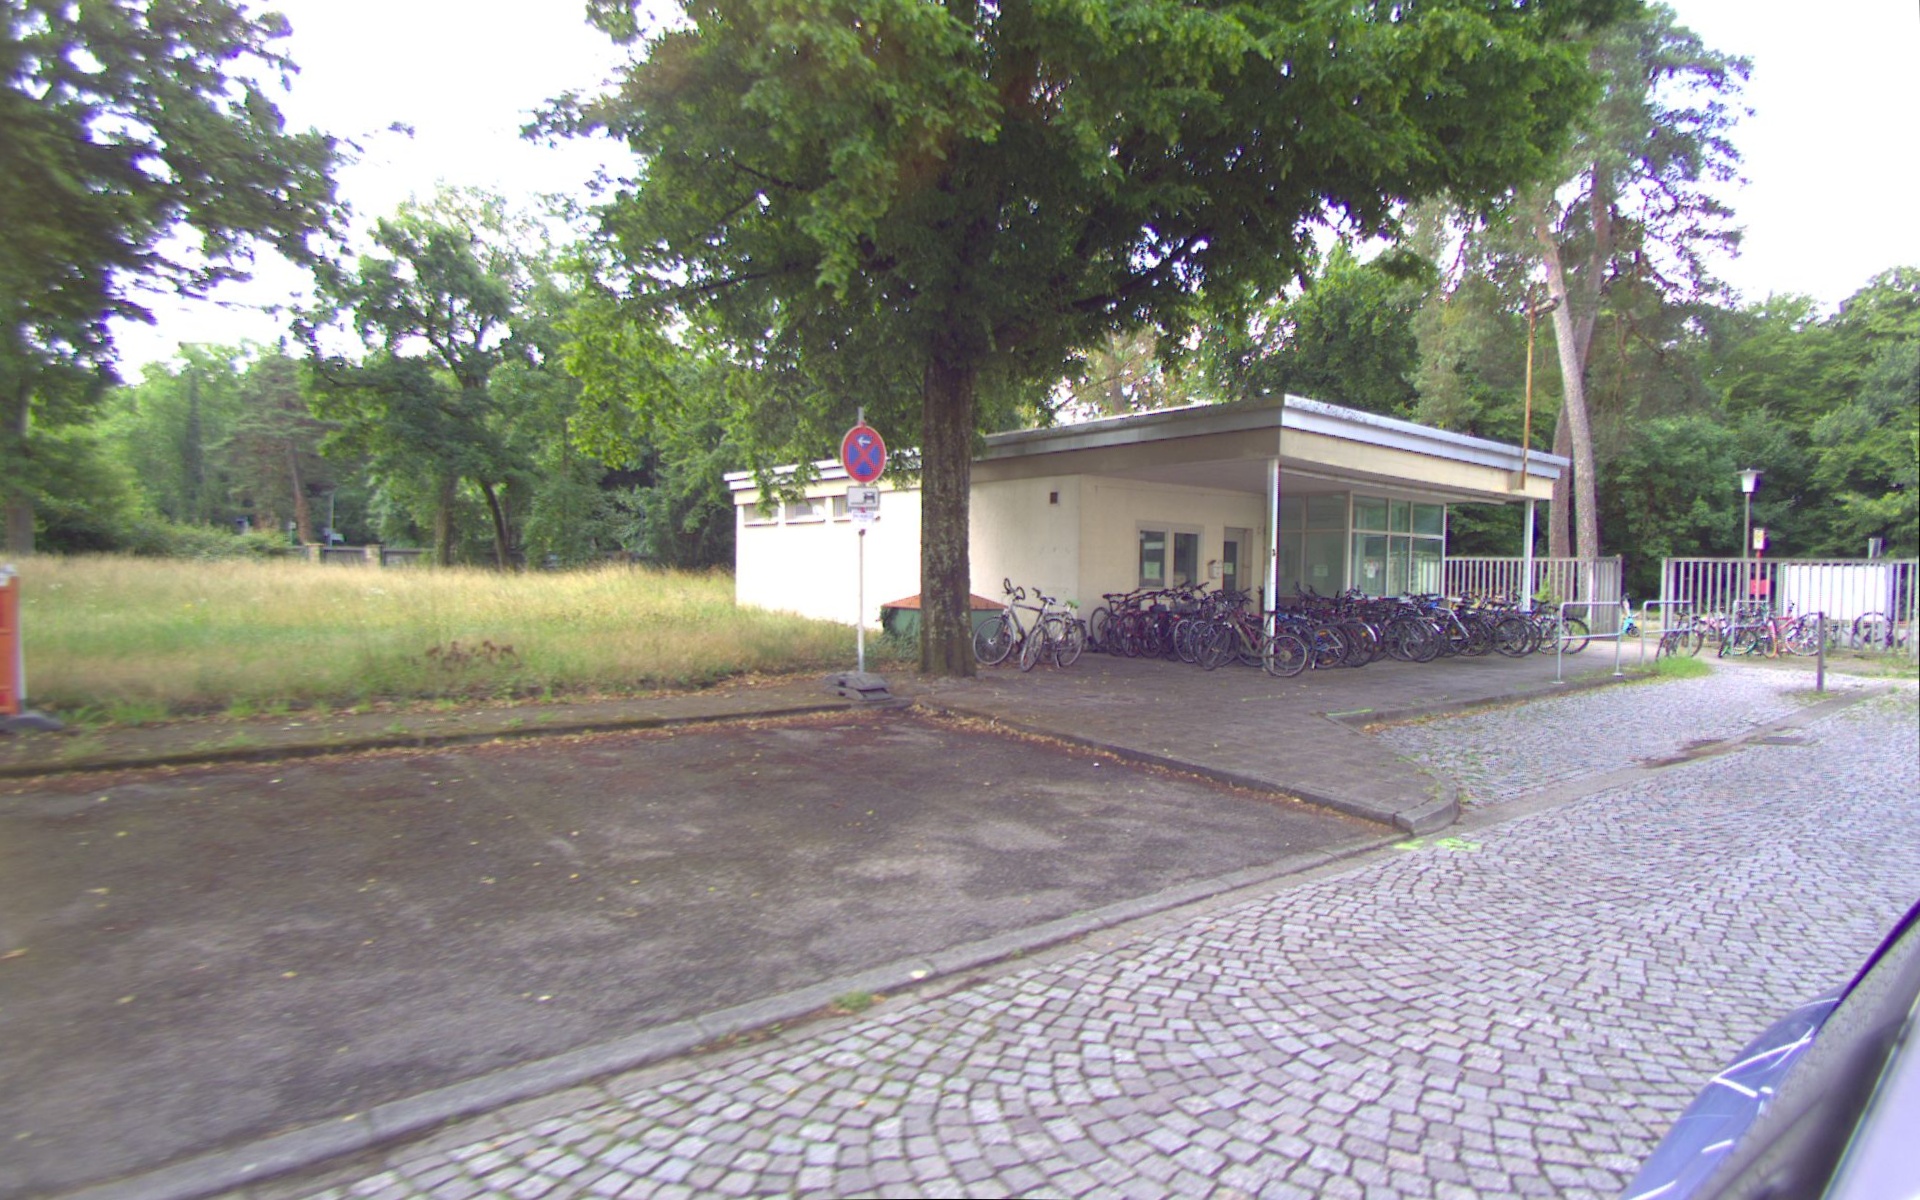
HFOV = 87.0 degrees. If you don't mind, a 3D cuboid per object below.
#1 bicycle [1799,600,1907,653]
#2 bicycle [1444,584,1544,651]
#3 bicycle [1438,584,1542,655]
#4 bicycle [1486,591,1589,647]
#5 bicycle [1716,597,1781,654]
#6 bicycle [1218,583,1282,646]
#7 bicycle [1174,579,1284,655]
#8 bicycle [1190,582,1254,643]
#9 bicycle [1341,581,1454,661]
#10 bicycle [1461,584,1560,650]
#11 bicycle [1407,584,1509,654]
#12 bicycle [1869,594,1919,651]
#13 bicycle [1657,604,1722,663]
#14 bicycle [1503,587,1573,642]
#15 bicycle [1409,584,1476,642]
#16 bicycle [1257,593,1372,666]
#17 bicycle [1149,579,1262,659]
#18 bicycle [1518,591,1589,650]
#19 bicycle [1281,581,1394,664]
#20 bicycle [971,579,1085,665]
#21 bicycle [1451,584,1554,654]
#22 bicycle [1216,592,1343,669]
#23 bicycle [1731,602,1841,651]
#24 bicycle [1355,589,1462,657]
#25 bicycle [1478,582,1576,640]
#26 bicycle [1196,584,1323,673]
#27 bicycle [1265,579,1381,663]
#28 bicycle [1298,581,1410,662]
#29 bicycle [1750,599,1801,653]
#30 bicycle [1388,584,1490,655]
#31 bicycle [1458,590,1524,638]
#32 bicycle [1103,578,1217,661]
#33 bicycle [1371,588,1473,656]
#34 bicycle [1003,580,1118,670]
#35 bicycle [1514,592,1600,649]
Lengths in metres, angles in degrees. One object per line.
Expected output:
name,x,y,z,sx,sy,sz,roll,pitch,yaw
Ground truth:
bicycle,20.014,0.574,22.717,0.380,1.046,1.731,0,3,-37
bicycle,10.154,0.315,19.289,1.613,1.155,0.350,5,3,44
bicycle,9.703,0.335,18.558,1.613,1.155,0.320,5,3,44
bicycle,11.661,0.372,20.488,1.723,1.059,0.453,1,1,13
bicycle,15.872,0.497,20.364,1.537,1.075,0.692,0,2,-39
bicycle,5.340,0.240,18.586,0.478,1.089,1.657,4,3,39
bicycle,4.637,0.269,17.546,0.598,1.179,1.743,0,3,-43
bicycle,4.932,0.211,18.987,0.478,1.089,1.657,4,3,39
bicycle,7.349,0.330,17.050,1.627,1.204,0.492,4,3,39
bicycle,10.663,0.310,19.637,1.613,1.155,0.350,5,3,44
bicycle,9.105,0.324,18.557,1.613,1.155,0.320,5,3,44
bicycle,21.981,0.529,23.177,1.650,1.245,0.737,4,3,44
bicycle,13.149,0.584,18.231,1.625,0.964,0.535,-1,2,-39
bicycle,12.894,0.310,22.555,1.648,1.152,0.649,0,2,-33
bicycle,9.712,0.251,20.355,1.800,1.089,0.491,0,3,-41
bicycle,5.412,0.437,15.493,1.616,0.988,0.320,3,2,21
bicycle,4.058,0.280,16.825,0.598,1.179,1.743,0,3,-43
bicycle,11.446,0.382,19.535,1.144,1.076,0.284,2,1,31
bicycle,6.097,0.340,16.389,1.627,1.204,0.414,4,3,39
bicycle,0.978,0.288,14.332,1.606,1.130,0.598,0,3,-41
bicycle,10.028,0.332,18.758,1.613,1.155,0.320,5,3,44
bicycle,4.746,0.427,15.040,1.725,0.988,0.754,3,3,21
bicycle,18.722,0.578,22.971,0.495,0.950,1.865,0,3,-44
bicycle,7.774,0.379,17.580,1.626,1.062,0.330,4,3,37
bicycle,11.823,0.219,21.142,1.711,1.146,0.473,1,1,7
bicycle,4.213,0.372,14.312,1.673,1.122,0.334,4,3,38
bicycle,5.736,0.308,16.037,1.627,1.204,0.467,4,3,38
bicycle,6.526,0.333,16.814,1.627,1.204,0.414,4,3,39
bicycle,17.229,0.531,21.359,1.701,1.070,0.474,0,2,-39
bicycle,8.576,0.330,18.163,1.592,1.155,0.320,5,3,44
bicycle,11.479,0.305,21.879,1.328,1.023,0.406,1,1,-16
bicycle,3.199,0.288,16.282,0.598,1.179,1.743,0,3,-43
bicycle,8.188,0.371,17.987,1.592,1.062,0.320,5,3,44
bicycle,1.392,0.321,13.862,1.606,1.130,0.598,0,3,-41
bicycle,11.692,0.396,19.847,1.391,1.059,0.336,2,1,25
